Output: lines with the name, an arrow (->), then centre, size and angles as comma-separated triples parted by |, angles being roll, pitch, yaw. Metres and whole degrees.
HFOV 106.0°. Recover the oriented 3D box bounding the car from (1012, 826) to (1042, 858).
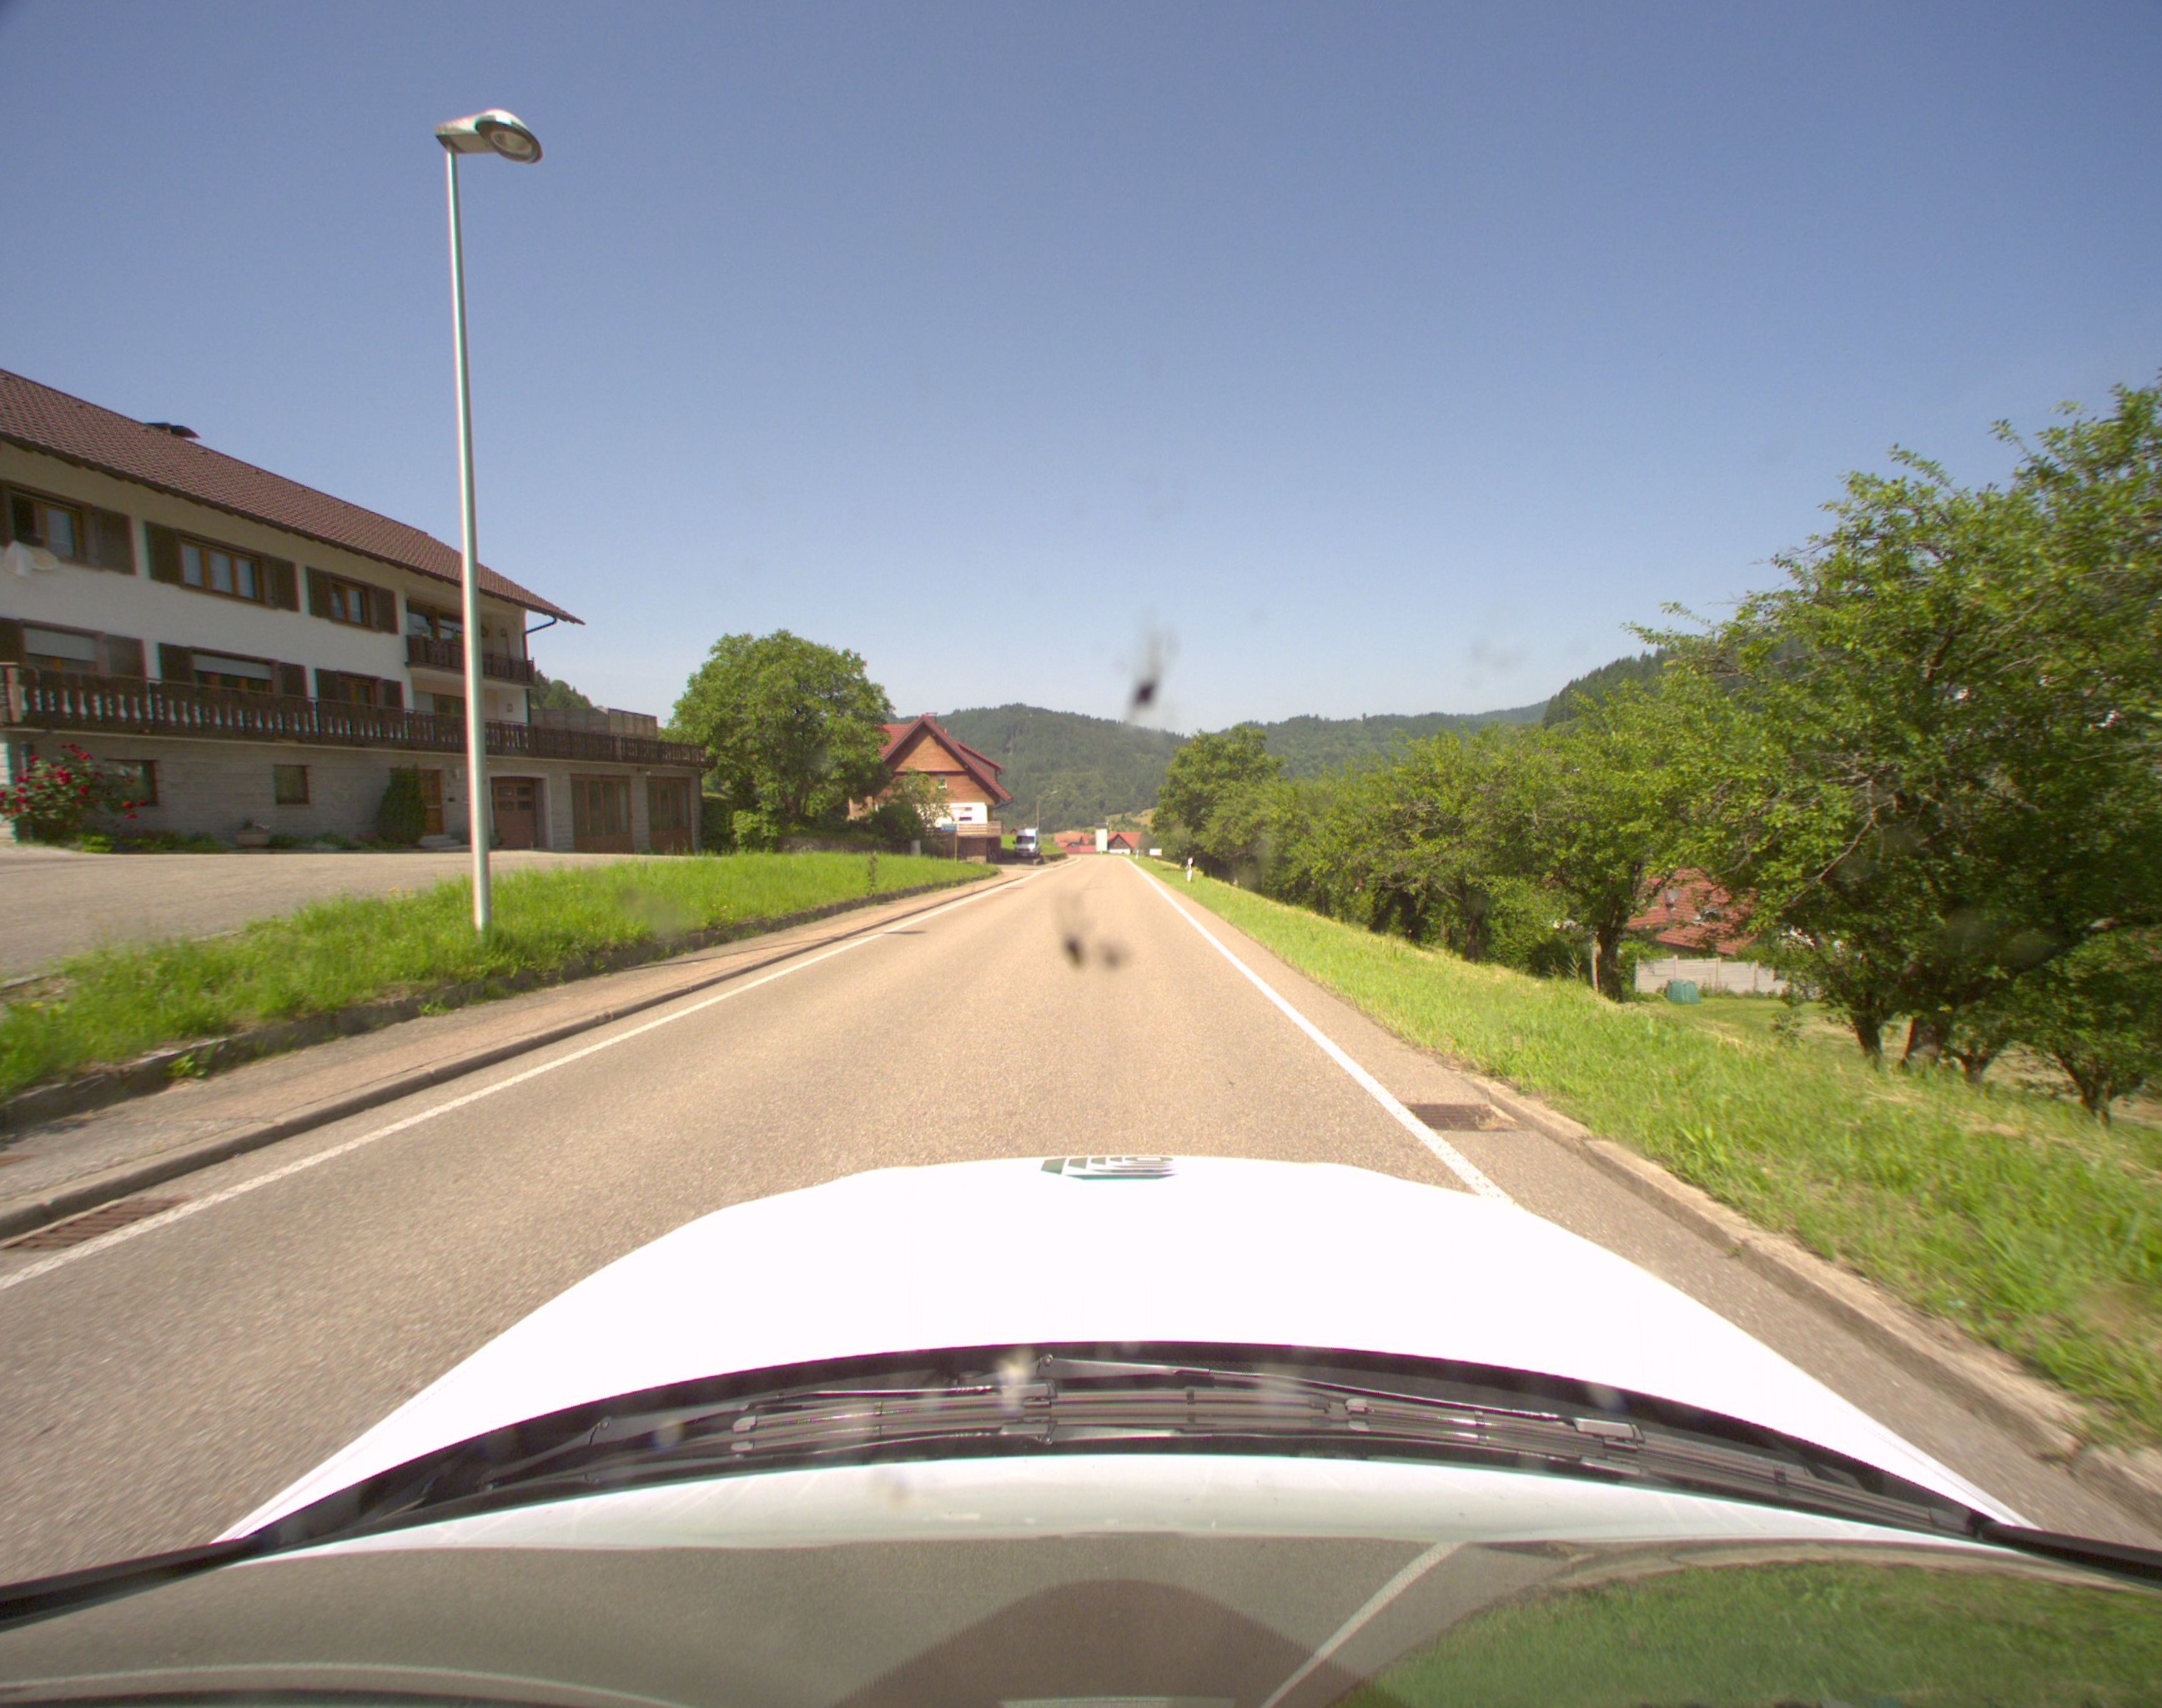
car -> -4.978, -1.208, 76.315 | 2.060, 2.687, 7.178 | -1, 4, 1
